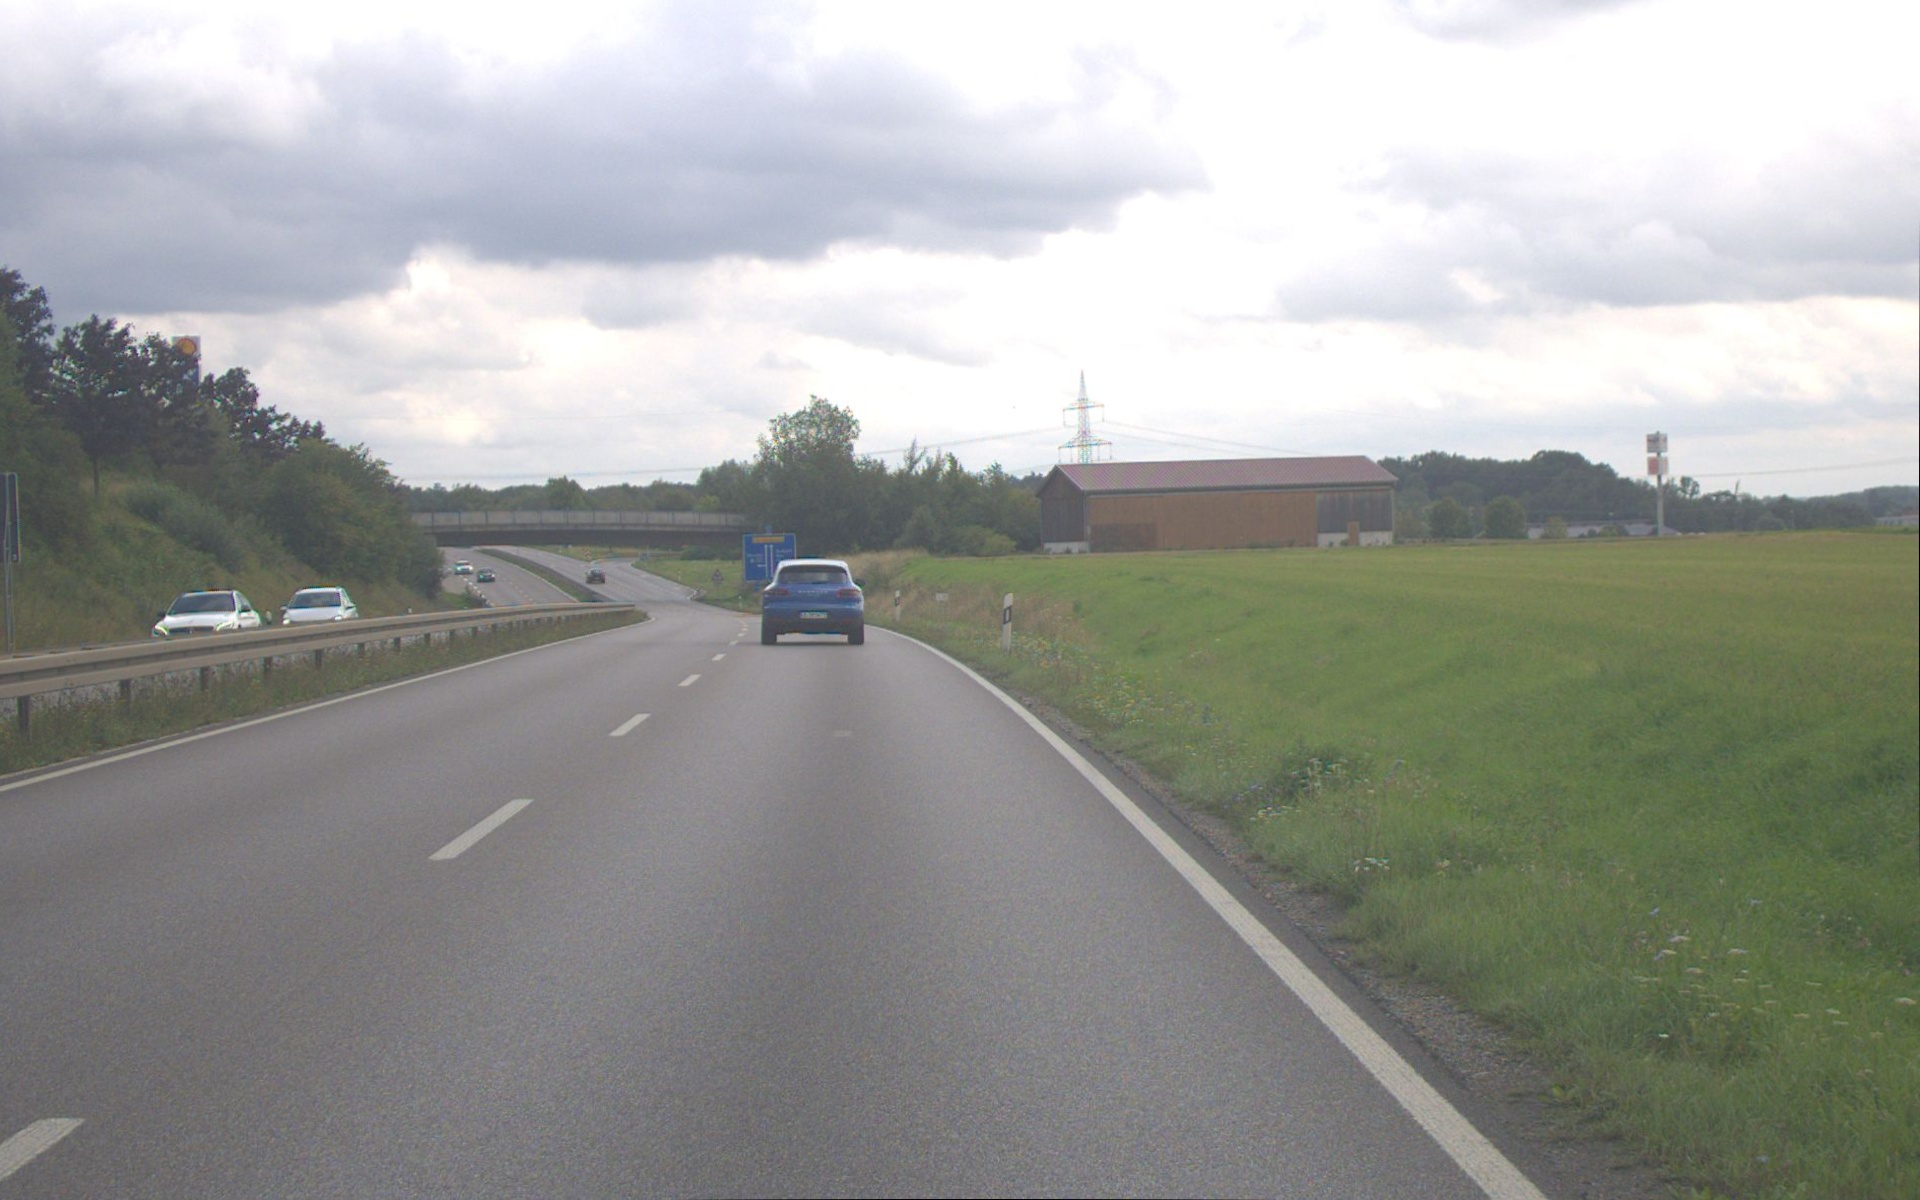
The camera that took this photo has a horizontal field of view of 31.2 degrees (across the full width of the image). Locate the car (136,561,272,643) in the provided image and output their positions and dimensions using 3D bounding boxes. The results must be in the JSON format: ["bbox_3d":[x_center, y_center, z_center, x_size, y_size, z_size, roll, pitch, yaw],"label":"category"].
[{"bbox_3d":[-16.247,0.014,74.139,1.993,1.512,4.989,-1,2,-2],"label":"car"}]

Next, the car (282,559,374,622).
[{"bbox_3d":[-17.290,-0.286,94.236,1.920,1.512,4.464,-1,2,-3],"label":"car"}]

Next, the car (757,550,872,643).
[{"bbox_3d":[-2.812,-0.103,65.691,2.033,1.655,4.544,0,2,-5],"label":"car"}]
